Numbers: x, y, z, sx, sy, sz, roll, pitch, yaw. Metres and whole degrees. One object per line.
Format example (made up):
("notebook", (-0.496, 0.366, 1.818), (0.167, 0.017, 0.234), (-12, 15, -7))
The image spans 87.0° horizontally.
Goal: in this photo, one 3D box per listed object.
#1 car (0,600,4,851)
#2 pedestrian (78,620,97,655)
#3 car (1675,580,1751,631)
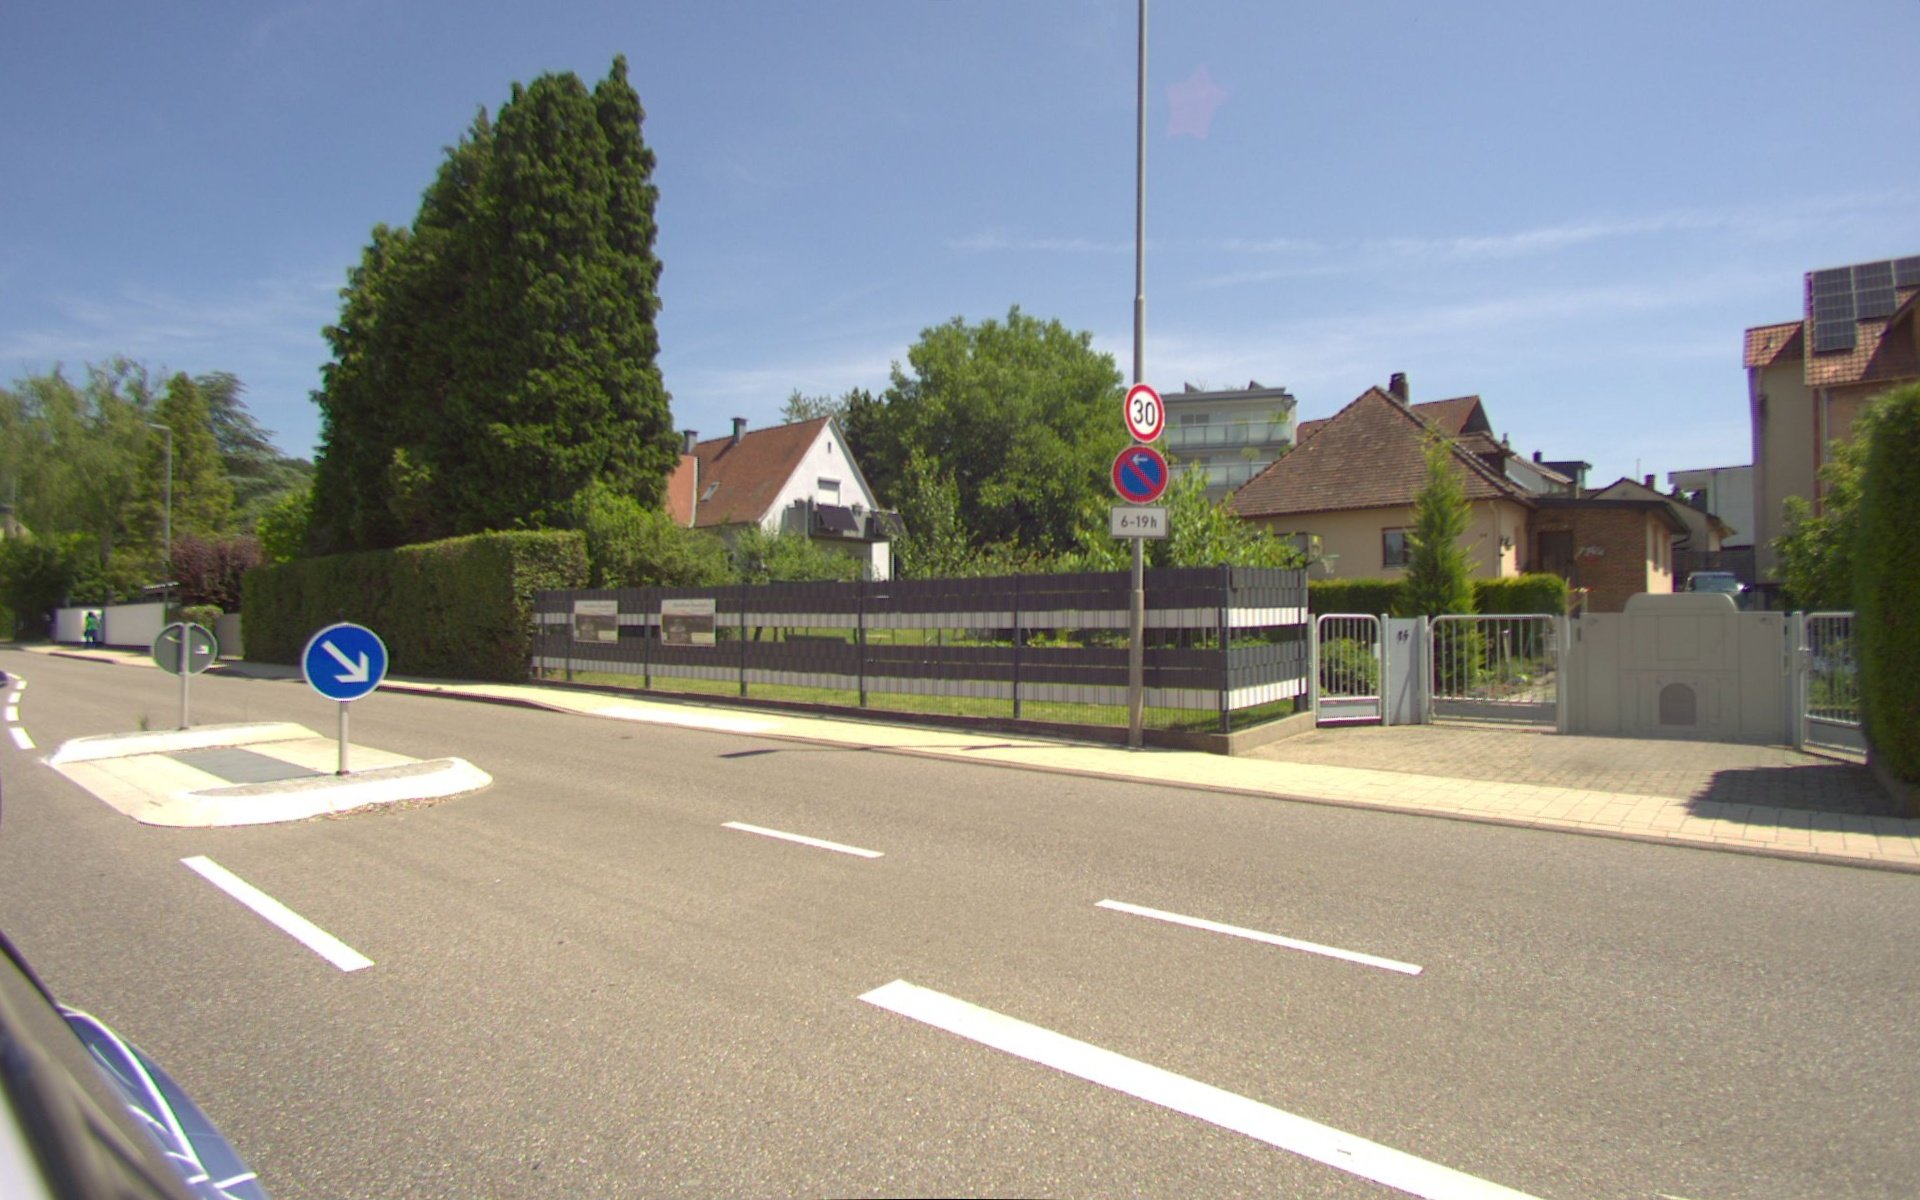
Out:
("car", (-8.286, 0.830, 7.143), (4.154, 1.601, 1.844), (-2, -2, 41))
("pedestrian", (-37.354, 1.606, 43.346), (0.482, 1.497, 0.547), (-1, 0, 40))
("car", (25.587, 0.171, 34.341), (1.835, 1.611, 3.947), (-1, 0, 40))
